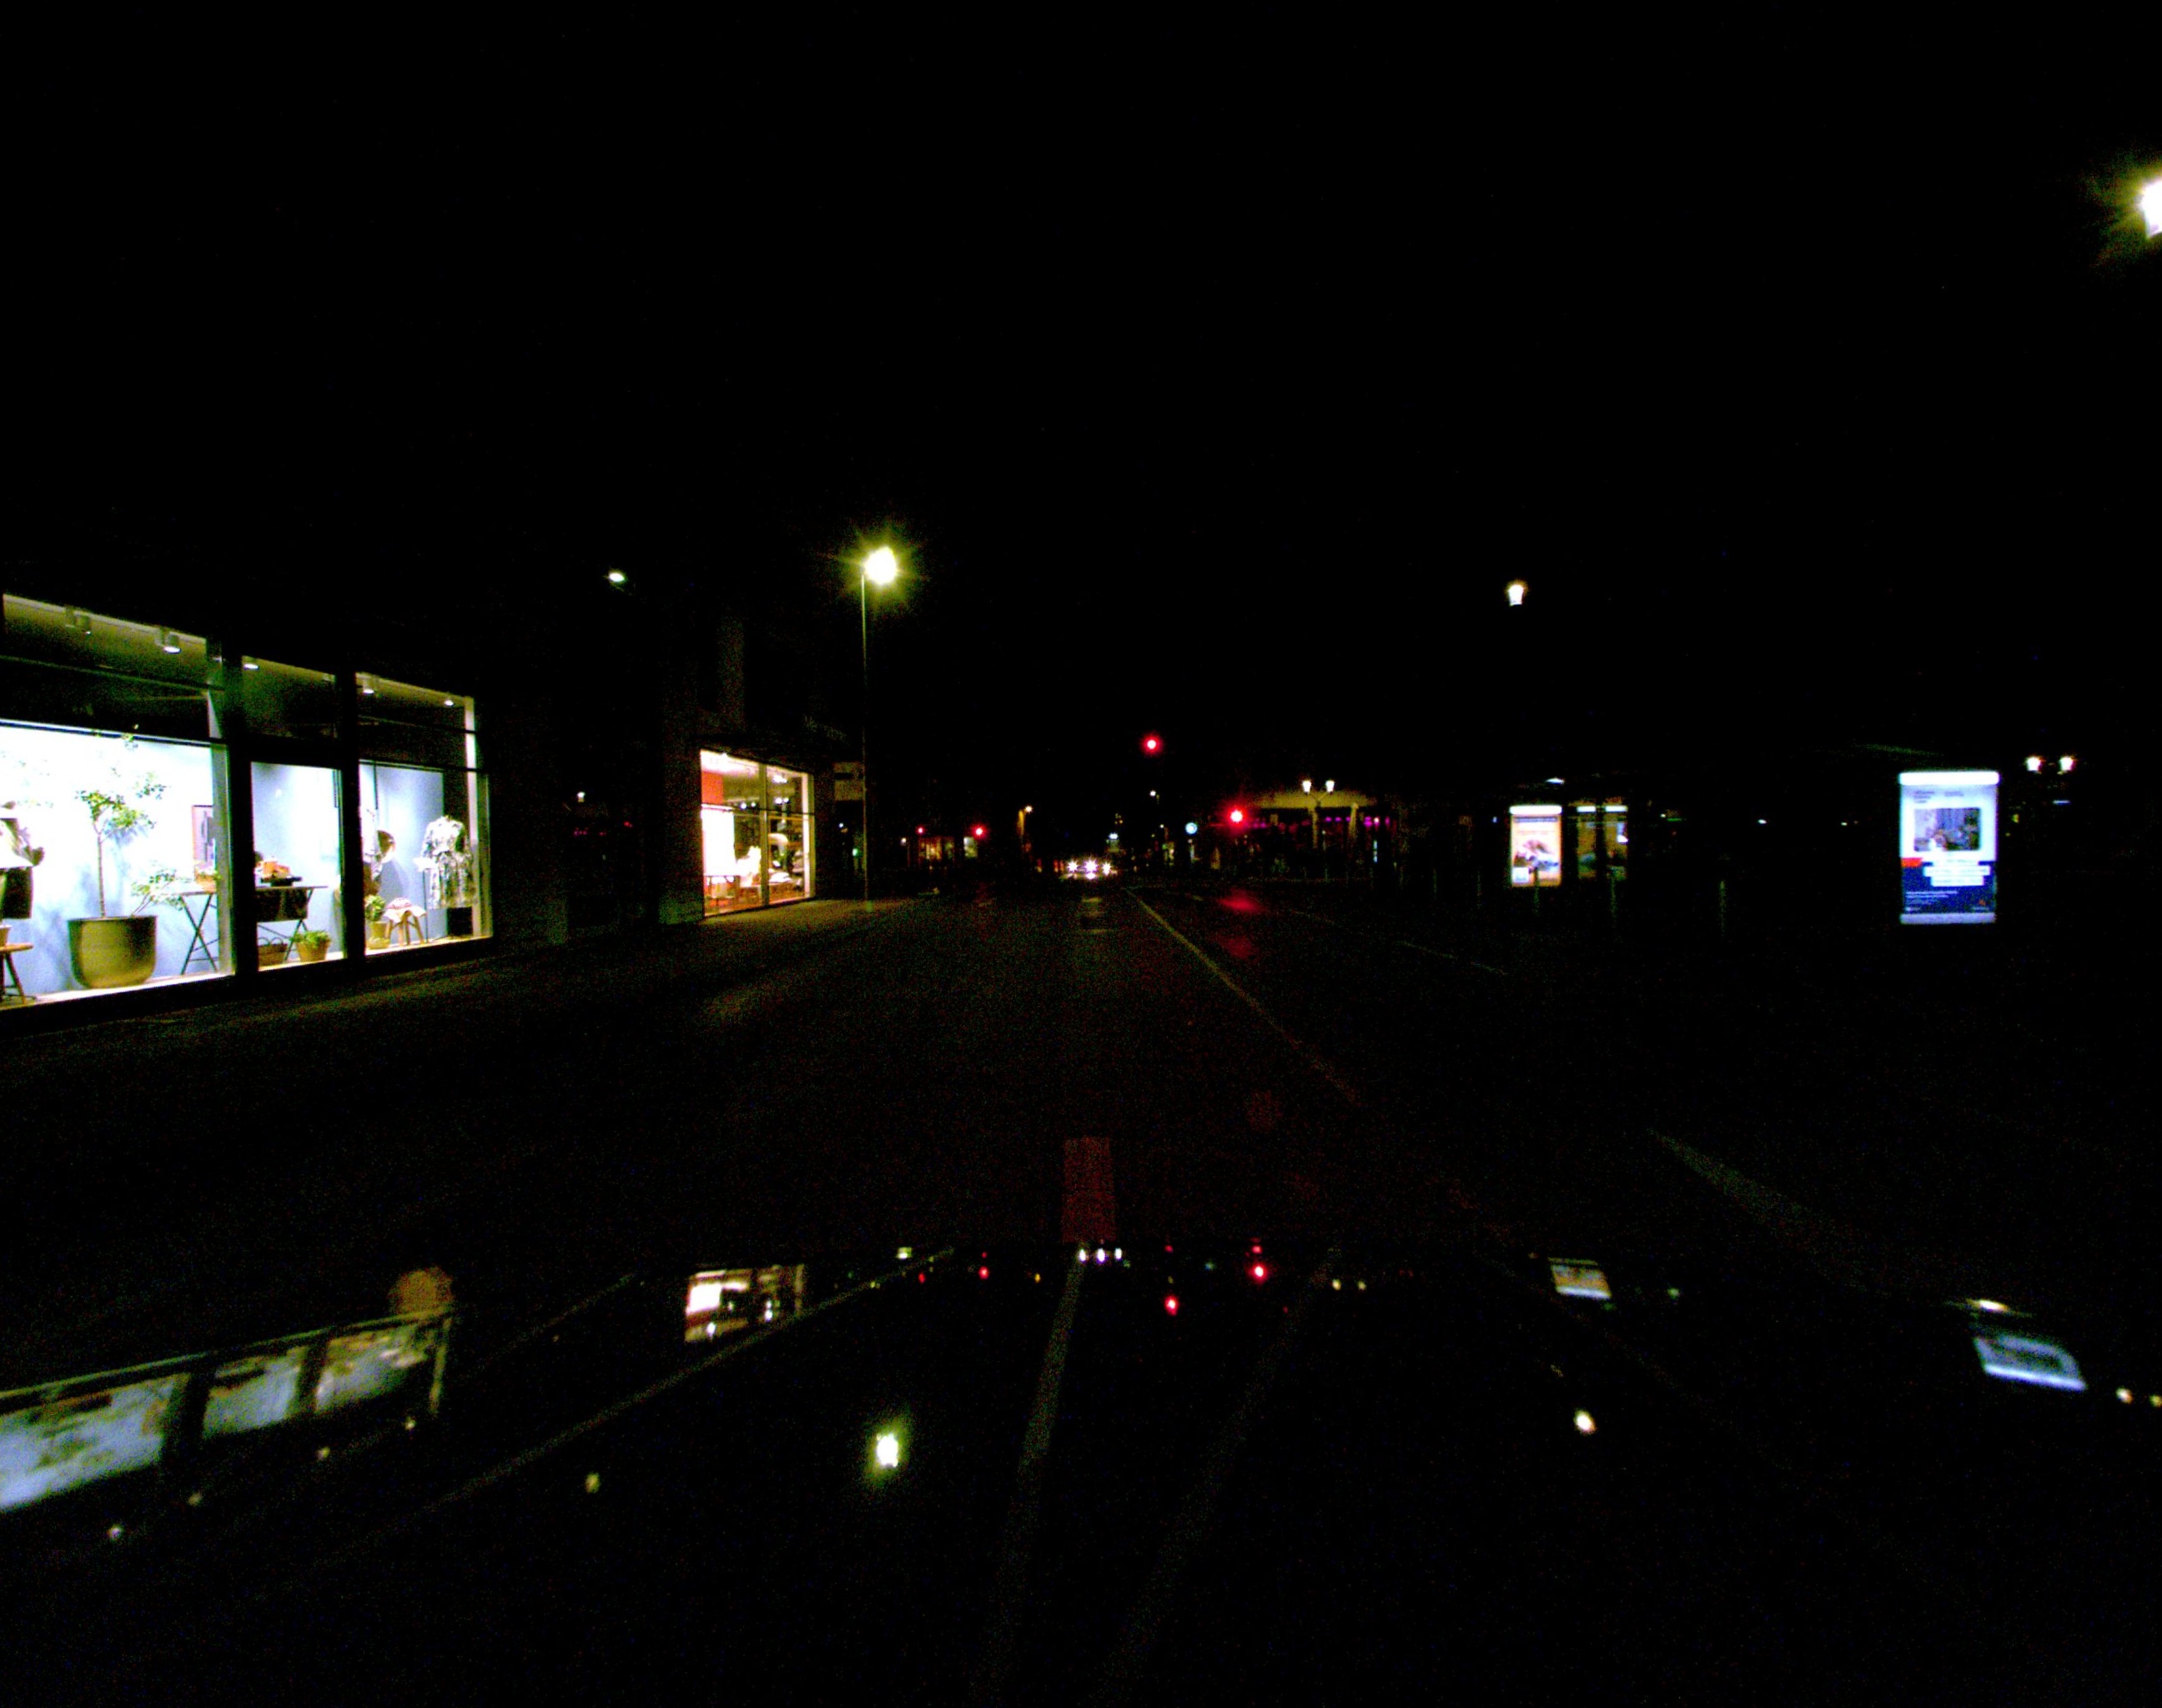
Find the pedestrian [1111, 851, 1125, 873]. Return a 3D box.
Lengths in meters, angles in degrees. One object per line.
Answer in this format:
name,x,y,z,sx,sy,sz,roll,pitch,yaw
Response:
pedestrian,2.558,0.562,53.019,0.828,1.487,0.648,0,1,16

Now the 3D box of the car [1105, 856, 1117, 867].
car,5.221,1.263,131.760,1.879,1.718,3.999,-2,1,1

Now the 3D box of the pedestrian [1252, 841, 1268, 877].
pedestrian,8.313,0.235,35.309,0.582,1.619,0.648,-2,1,23

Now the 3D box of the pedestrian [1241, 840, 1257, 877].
pedestrian,7.688,0.204,34.790,0.582,1.672,0.648,-2,1,23

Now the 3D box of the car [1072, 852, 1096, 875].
car,0.269,0.713,60.171,1.713,1.660,3.738,-2,1,3

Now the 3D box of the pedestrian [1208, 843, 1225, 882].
pedestrian,5.951,0.372,33.425,0.539,1.672,0.648,-2,1,23

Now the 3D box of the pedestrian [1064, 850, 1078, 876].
pedestrian,-0.640,0.599,50.880,0.877,1.723,0.647,0,1,4
